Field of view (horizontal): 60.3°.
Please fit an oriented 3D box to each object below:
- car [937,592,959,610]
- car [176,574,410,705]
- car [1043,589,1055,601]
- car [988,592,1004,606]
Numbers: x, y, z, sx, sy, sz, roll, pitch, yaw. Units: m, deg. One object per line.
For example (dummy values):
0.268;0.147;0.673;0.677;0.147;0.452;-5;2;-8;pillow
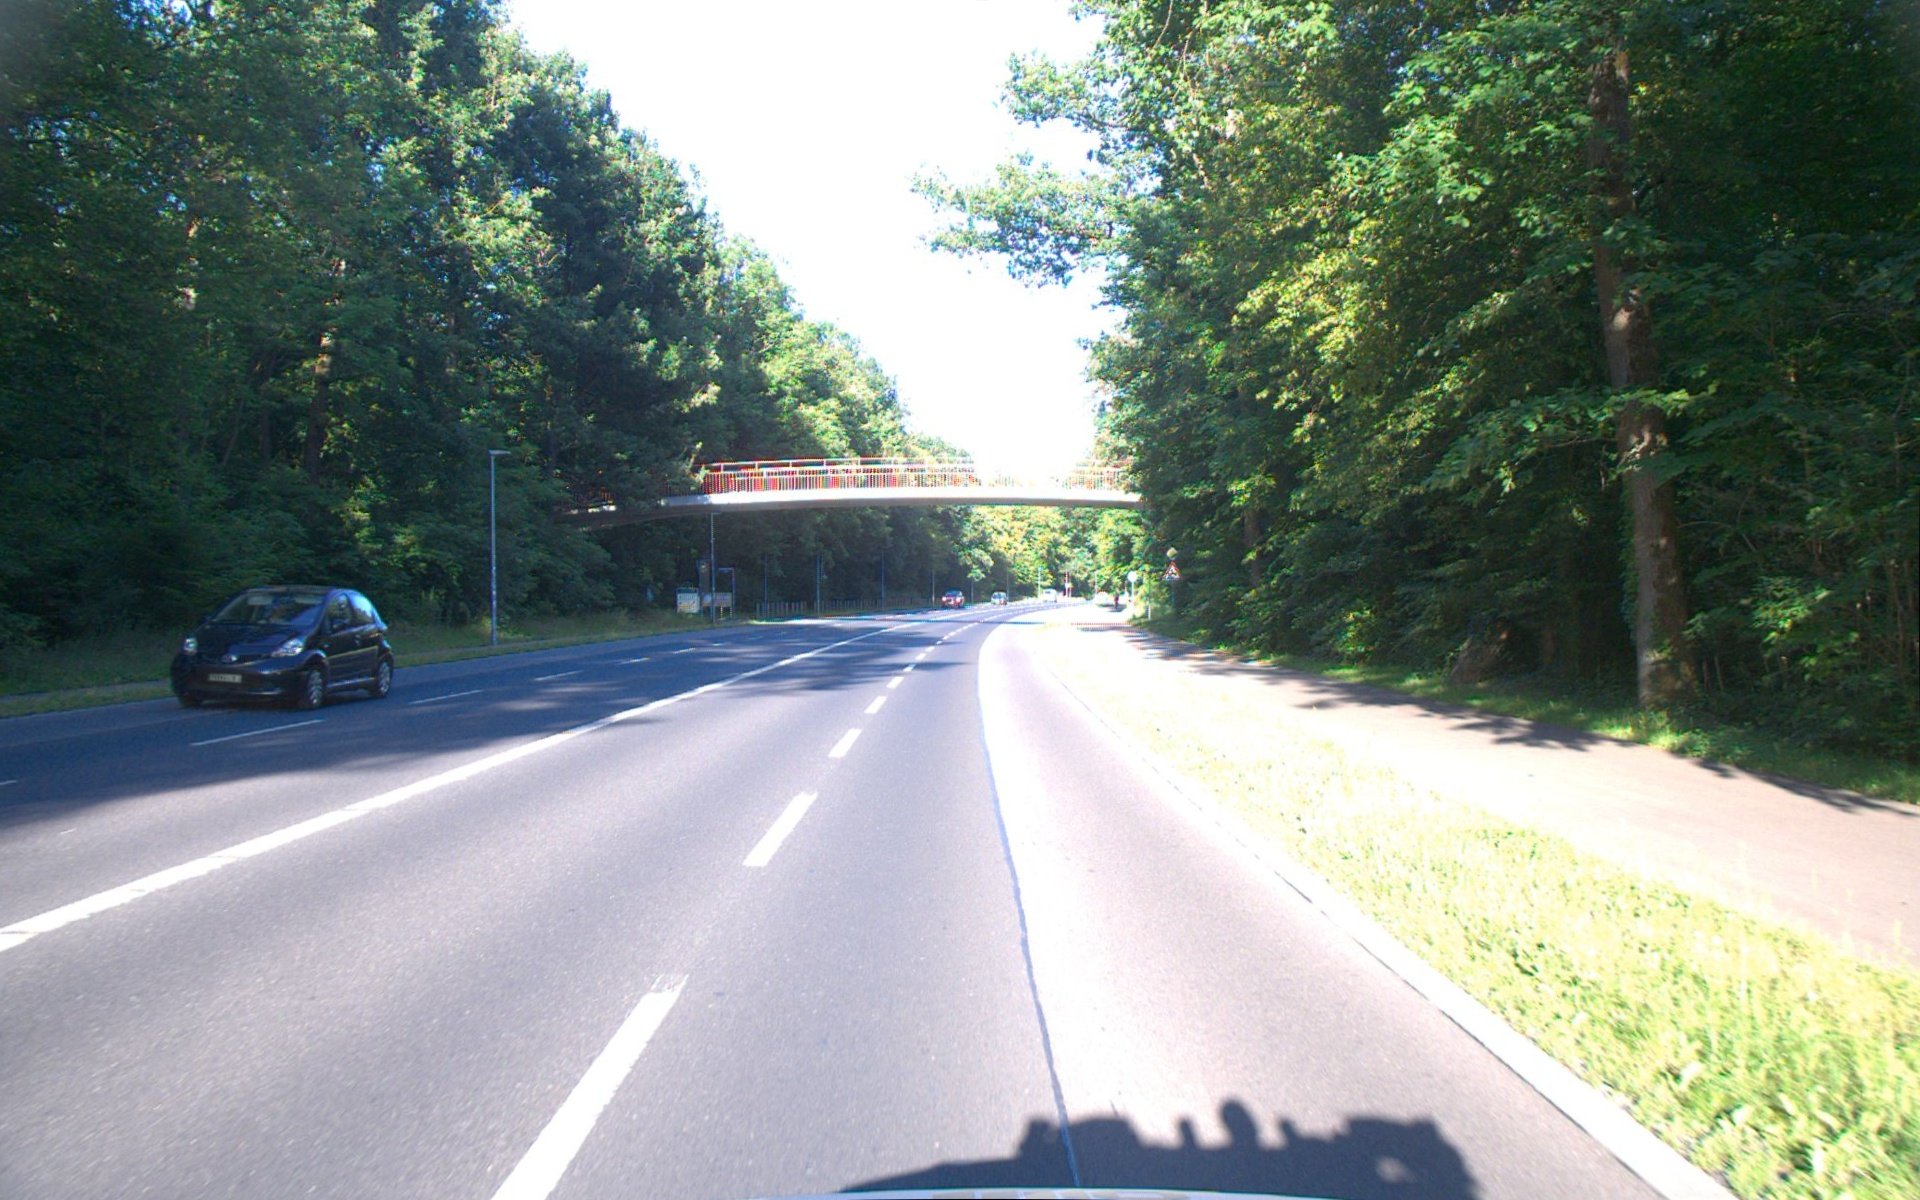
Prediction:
-1.142;0.111;154.738;1.725;1.610;4.170;1;1;4;car
-8.221;0.435;20.682;1.464;1.469;3.500;1;0;0;car
13.211;-0.734;245.392;1.669;1.739;4.002;0;0;3;car
4.227;-0.133;193.668;1.686;1.601;4.180;2;1;4;car
